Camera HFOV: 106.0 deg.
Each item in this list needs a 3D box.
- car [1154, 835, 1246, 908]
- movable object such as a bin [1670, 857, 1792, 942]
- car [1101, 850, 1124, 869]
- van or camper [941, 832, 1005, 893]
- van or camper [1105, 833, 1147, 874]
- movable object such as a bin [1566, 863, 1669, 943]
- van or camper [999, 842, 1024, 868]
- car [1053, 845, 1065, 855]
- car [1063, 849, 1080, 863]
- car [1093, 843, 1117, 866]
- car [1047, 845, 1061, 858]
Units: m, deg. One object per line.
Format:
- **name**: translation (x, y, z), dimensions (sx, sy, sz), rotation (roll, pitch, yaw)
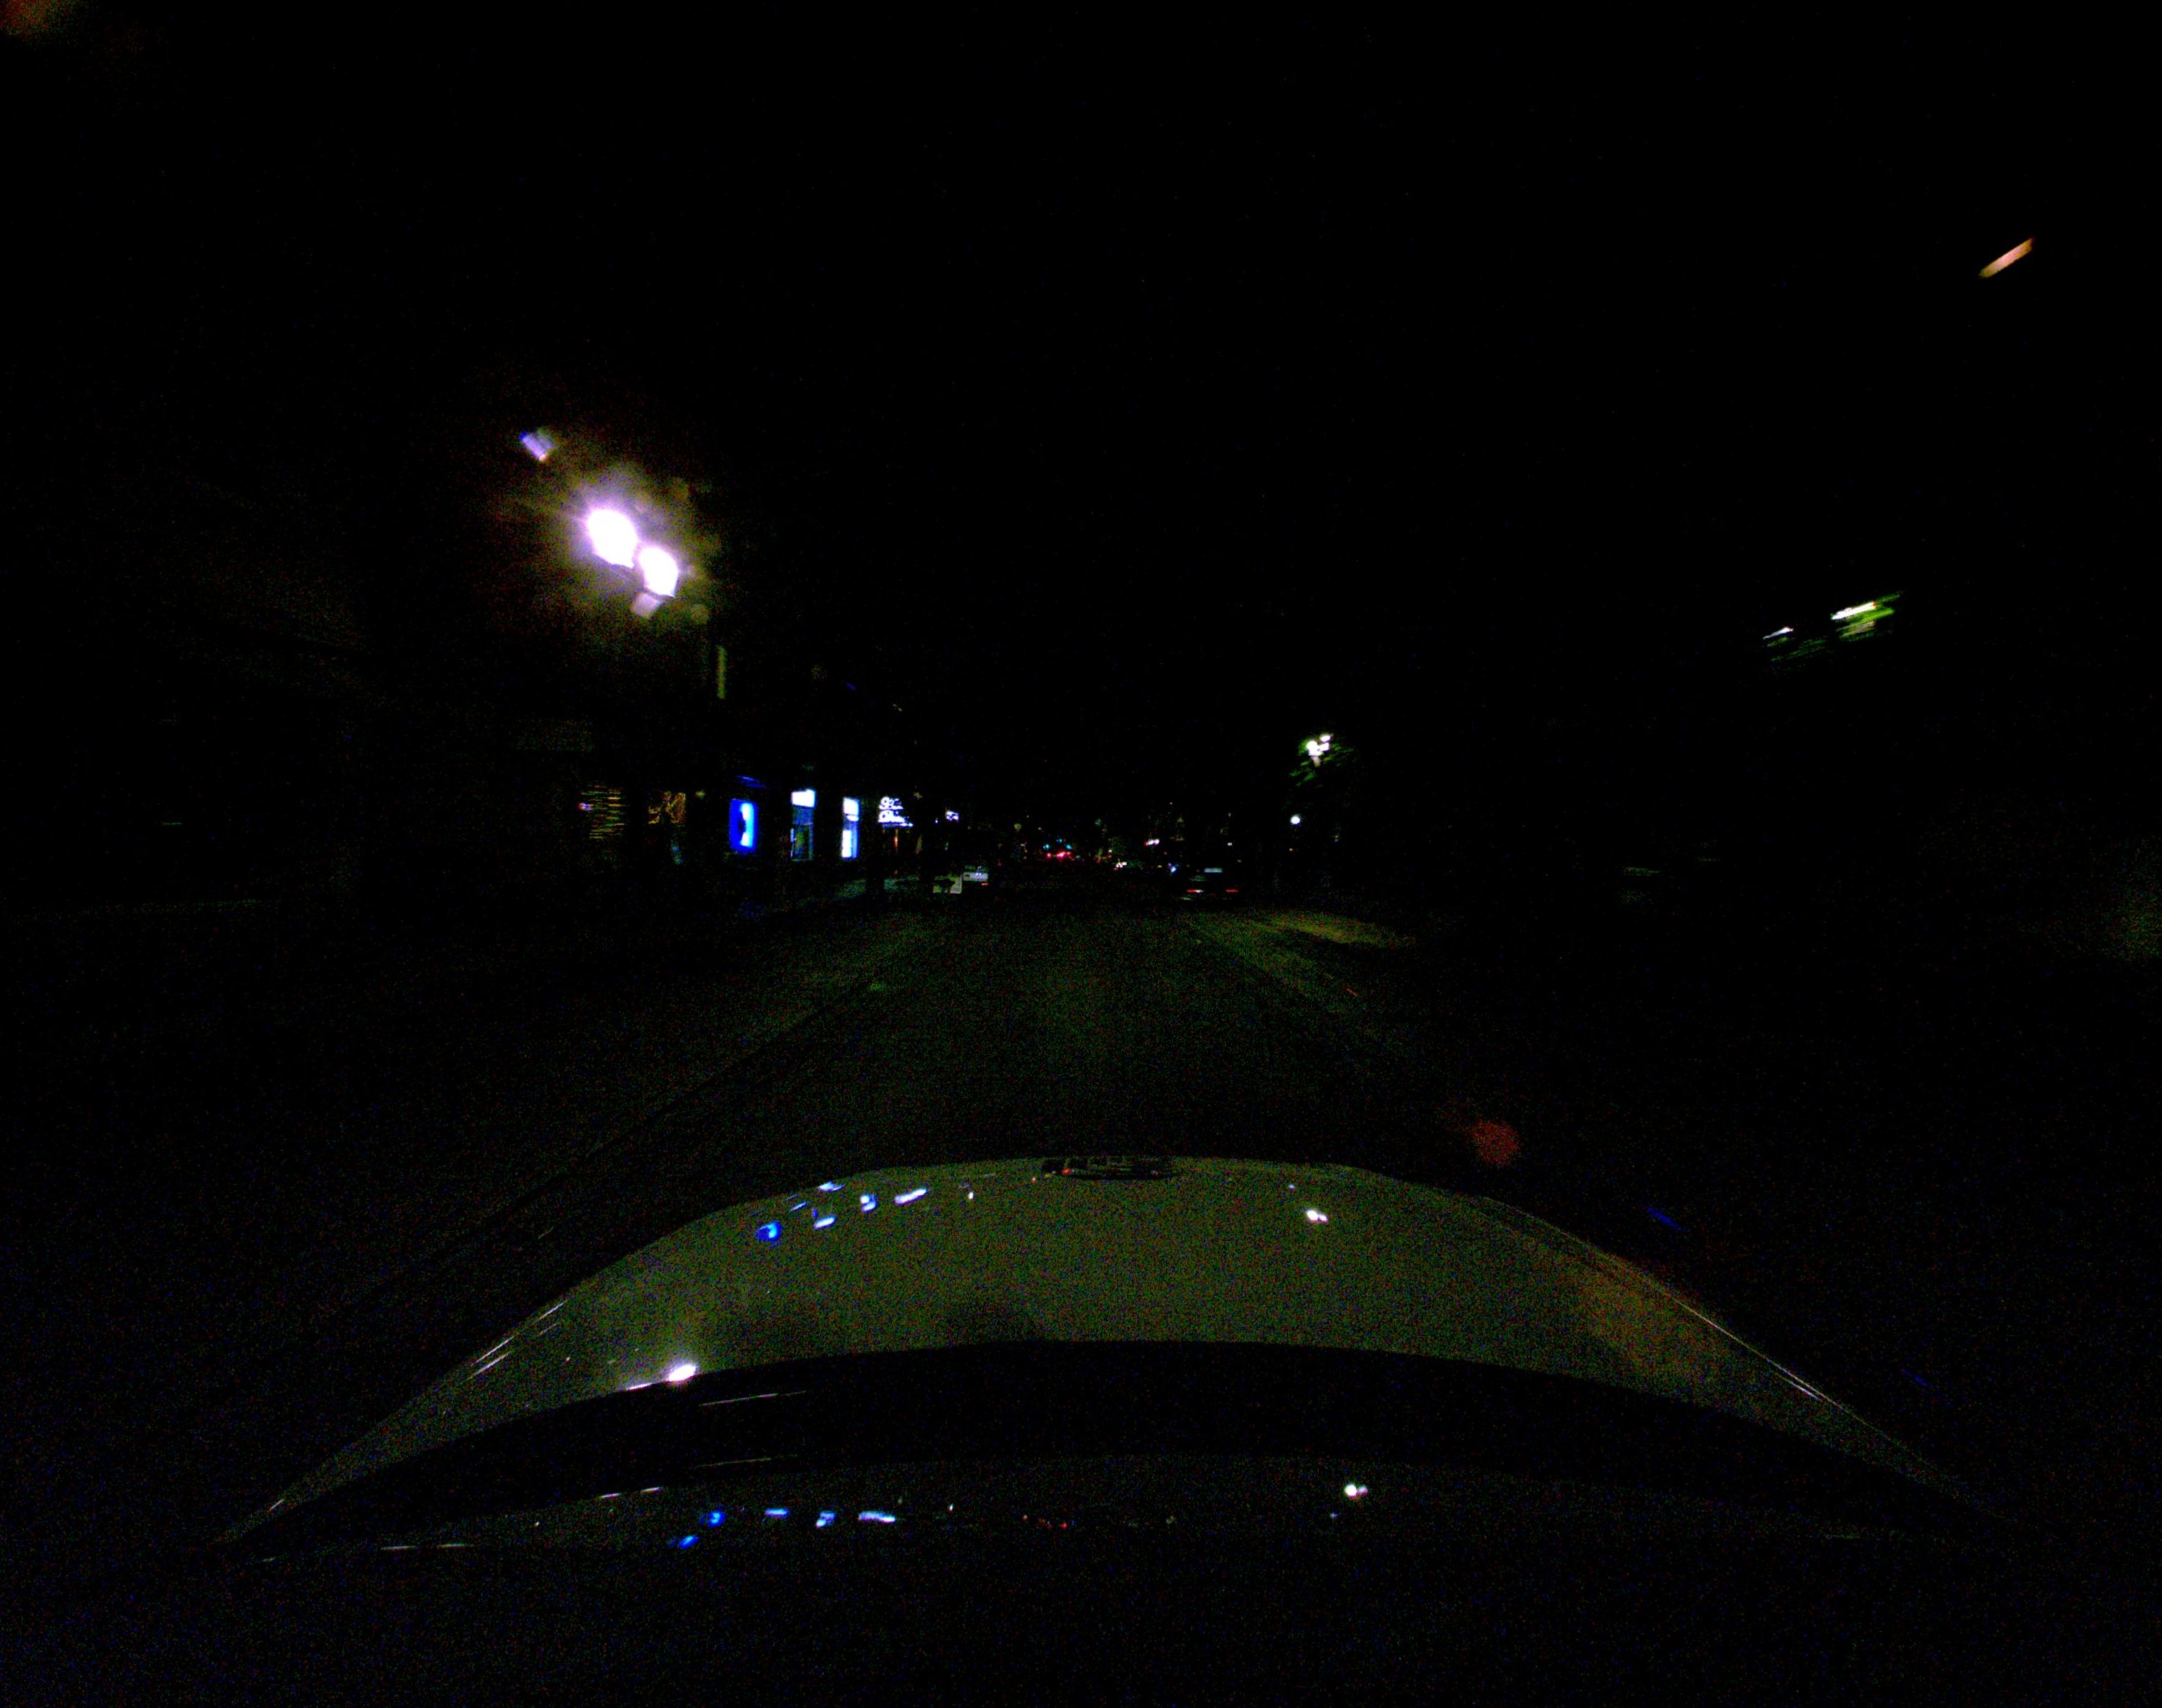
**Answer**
- **car**: translation (3.176, 0.421, 22.647), dimensions (1.810, 1.828, 4.344), rotation (0, 0, -2)
- **movable object such as a bin**: translation (11.399, 0.775, 14.329), dimensions (1.257, 1.419, 1.117), rotation (0, 0, -1)
- **car**: translation (2.334, 0.383, 61.617), dimensions (1.527, 1.418, 3.844), rotation (0, 0, -1)
- **van or camper**: translation (-3.860, 0.267, 29.679), dimensions (1.862, 2.011, 4.258), rotation (2, 0, -3)
- **van or camper**: translation (2.645, -0.067, 48.664), dimensions (2.103, 2.317, 4.258), rotation (-1, 0, -3)
- **movable object such as a bin**: translation (9.326, 0.825, 14.199), dimensions (1.102, 1.307, 1.009), rotation (2, 0, -3)
- **van or camper**: translation (-5.478, 0.092, 64.254), dimensions (1.932, 1.989, 3.838), rotation (0, 0, -5)
- **car**: translation (-3.912, -0.712, 144.568), dimensions (1.989, 1.823, 3.996), rotation (1, 0, -3)
- **car**: translation (-1.113, 0.234, 95.242), dimensions (1.834, 1.542, 3.844), rotation (0, 0, -1)
- **car**: translation (1.972, 0.035, 67.348), dimensions (1.834, 1.901, 3.844), rotation (0, 0, -1)
- **car**: translation (-4.010, -0.397, 122.121), dimensions (1.988, 1.823, 3.998), rotation (1, 0, -1)
